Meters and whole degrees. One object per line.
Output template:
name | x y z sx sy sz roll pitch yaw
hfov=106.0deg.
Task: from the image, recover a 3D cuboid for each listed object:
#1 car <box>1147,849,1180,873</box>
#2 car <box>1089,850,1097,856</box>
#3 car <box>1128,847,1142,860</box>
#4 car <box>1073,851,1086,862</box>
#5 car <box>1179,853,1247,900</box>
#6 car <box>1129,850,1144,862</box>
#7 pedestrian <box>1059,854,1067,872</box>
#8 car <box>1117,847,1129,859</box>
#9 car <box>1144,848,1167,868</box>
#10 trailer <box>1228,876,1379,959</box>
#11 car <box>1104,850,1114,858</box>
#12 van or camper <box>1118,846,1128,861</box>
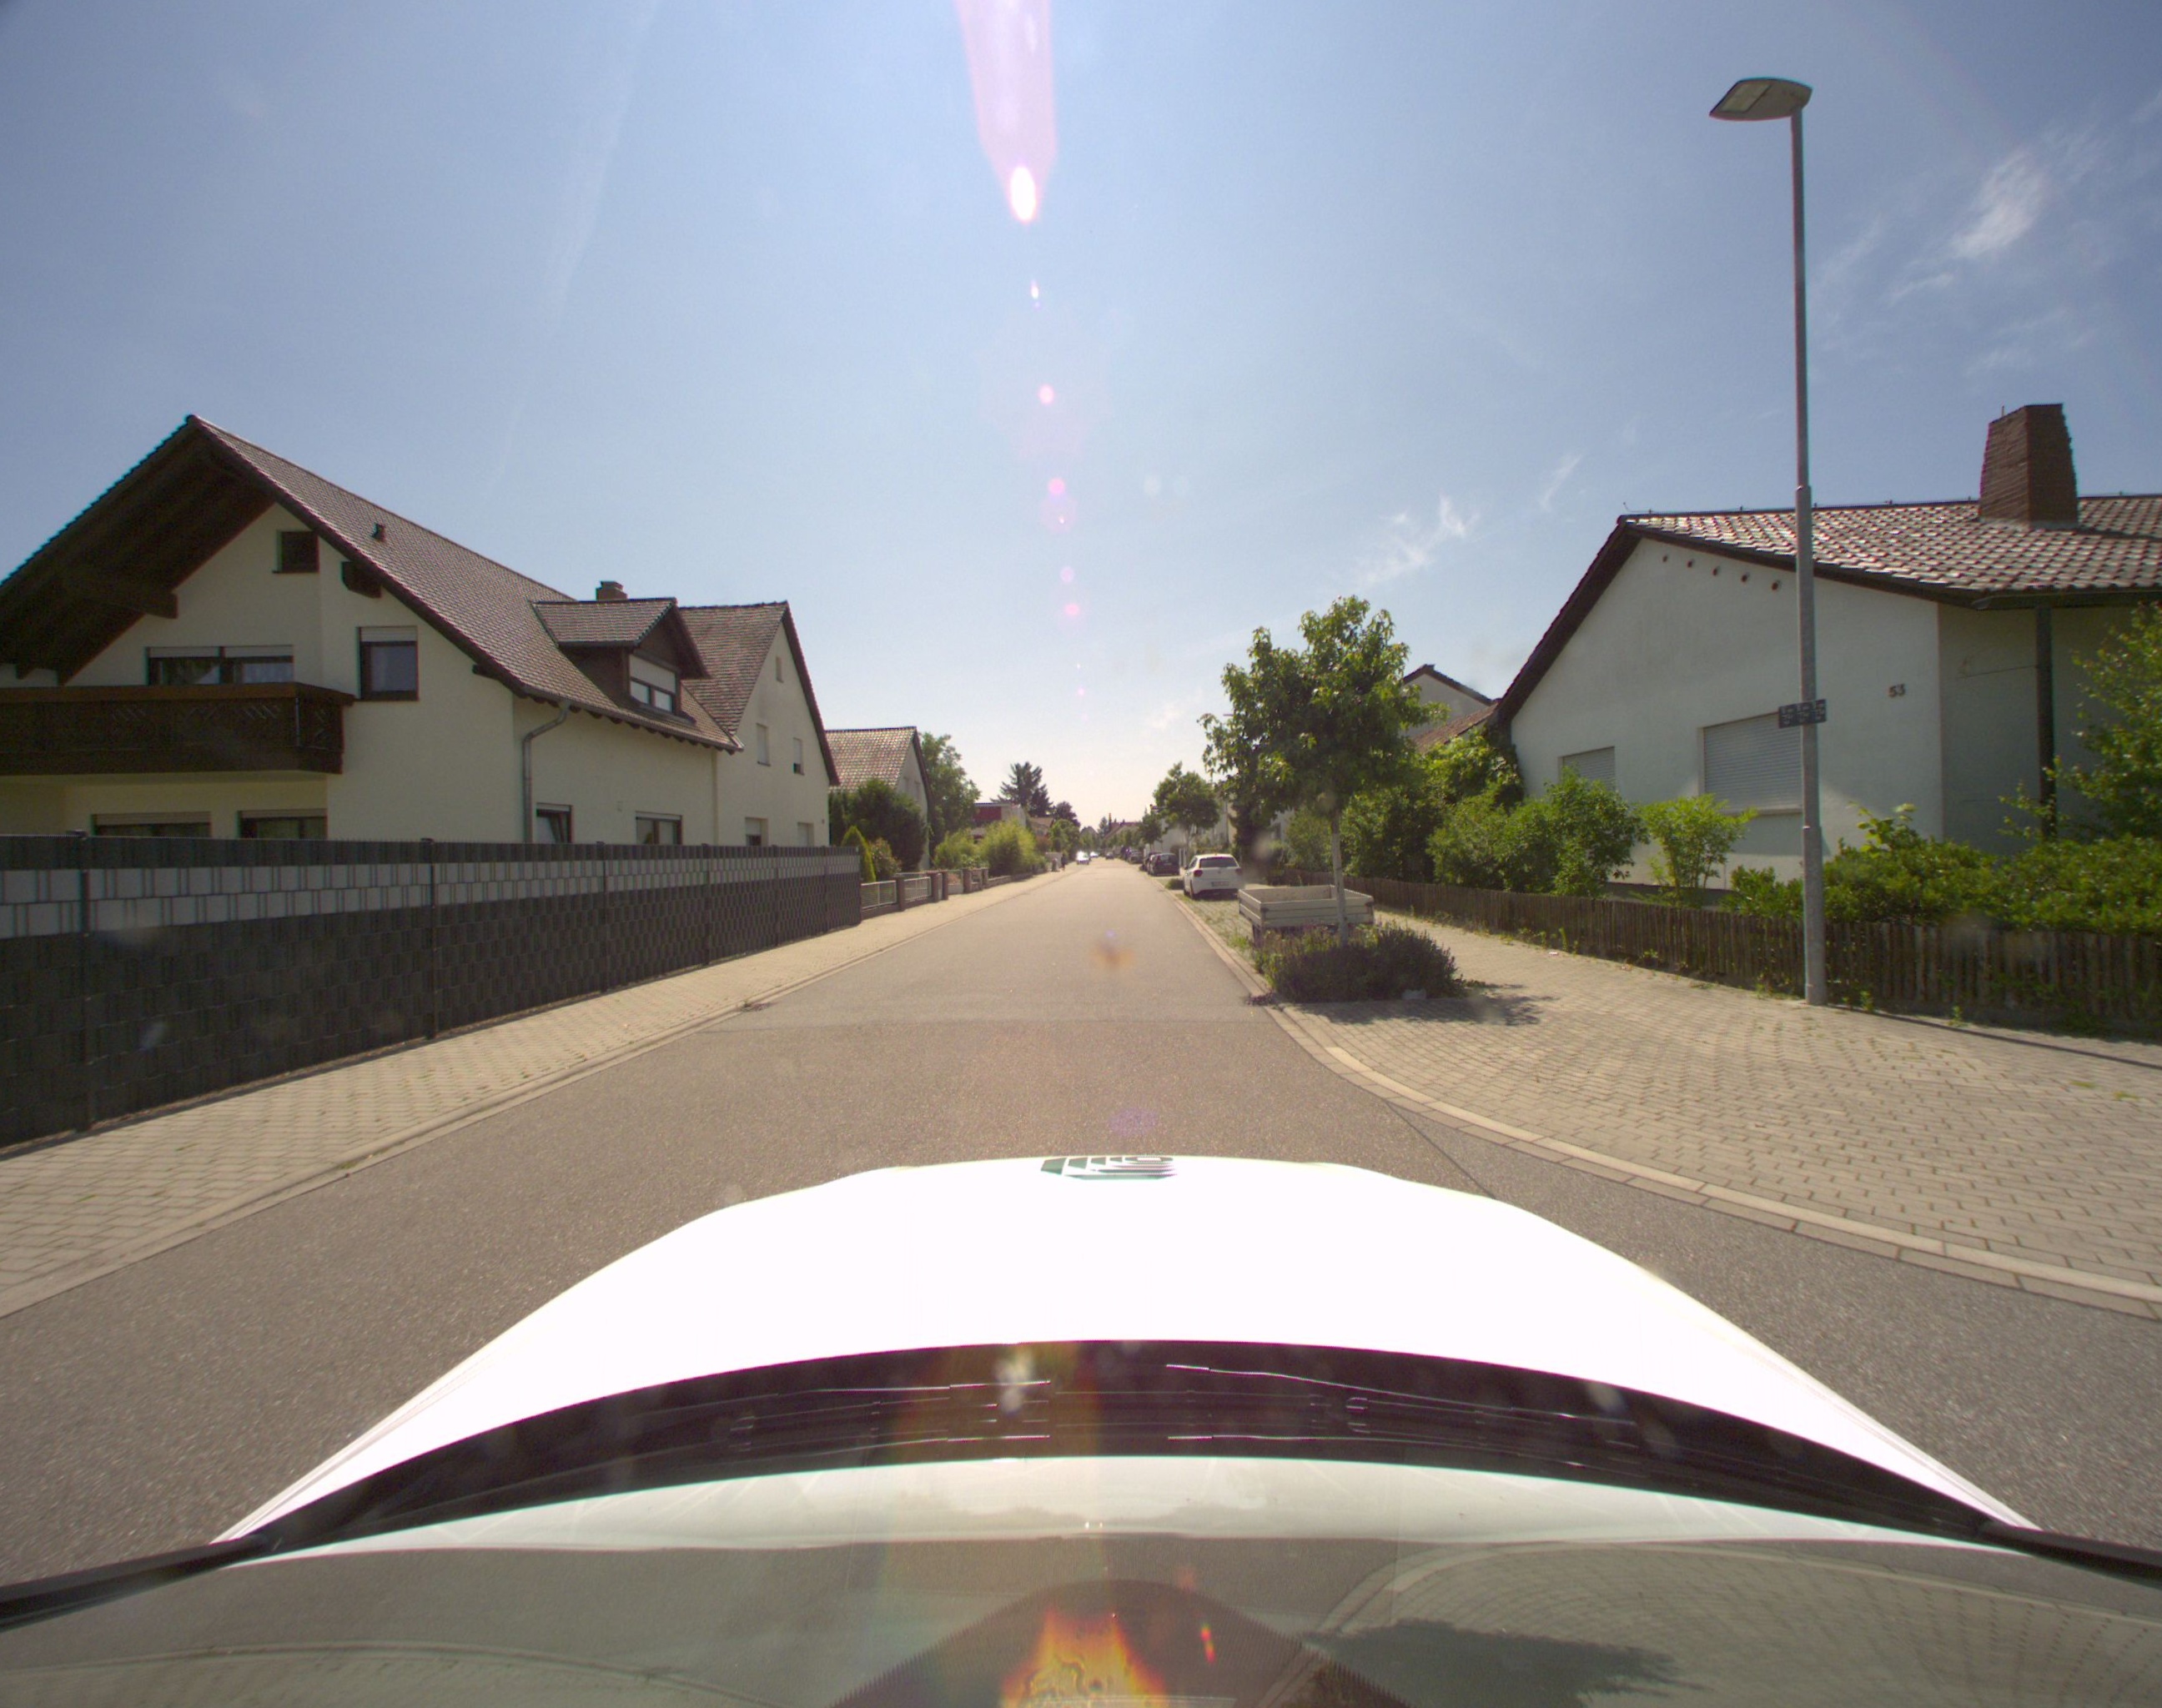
car | 5.502 0.456 54.780 1.736 1.533 4.448 -1 0 0
car | 3.218 -0.205 217.859 1.845 1.478 4.704 -1 0 4
car | 8.613 -0.062 130.040 2.091 1.882 4.846 -2 0 3
car | -0.218 0.381 122.070 1.845 1.488 4.387 -1 0 2
car | 4.366 0.692 27.375 1.807 1.420 3.871 -2 0 3
car | 7.650 0.236 113.247 1.768 1.595 4.278 -1 0 0
pedestrian | -1.793 0.910 81.191 0.711 1.747 0.961 -1 0 2
car | 7.404 -0.189 144.396 1.986 1.947 5.217 -1 0 2
car | 6.370 0.321 70.040 1.807 1.656 4.568 -2 1 3
trailer | 3.454 0.956 13.128 1.780 1.058 2.901 -2 0 3
car | 5.796 -0.008 169.224 1.985 1.430 4.004 -1 0 3
van or camper | 8.701 -0.062 169.182 1.986 2.941 4.002 -2 0 2
